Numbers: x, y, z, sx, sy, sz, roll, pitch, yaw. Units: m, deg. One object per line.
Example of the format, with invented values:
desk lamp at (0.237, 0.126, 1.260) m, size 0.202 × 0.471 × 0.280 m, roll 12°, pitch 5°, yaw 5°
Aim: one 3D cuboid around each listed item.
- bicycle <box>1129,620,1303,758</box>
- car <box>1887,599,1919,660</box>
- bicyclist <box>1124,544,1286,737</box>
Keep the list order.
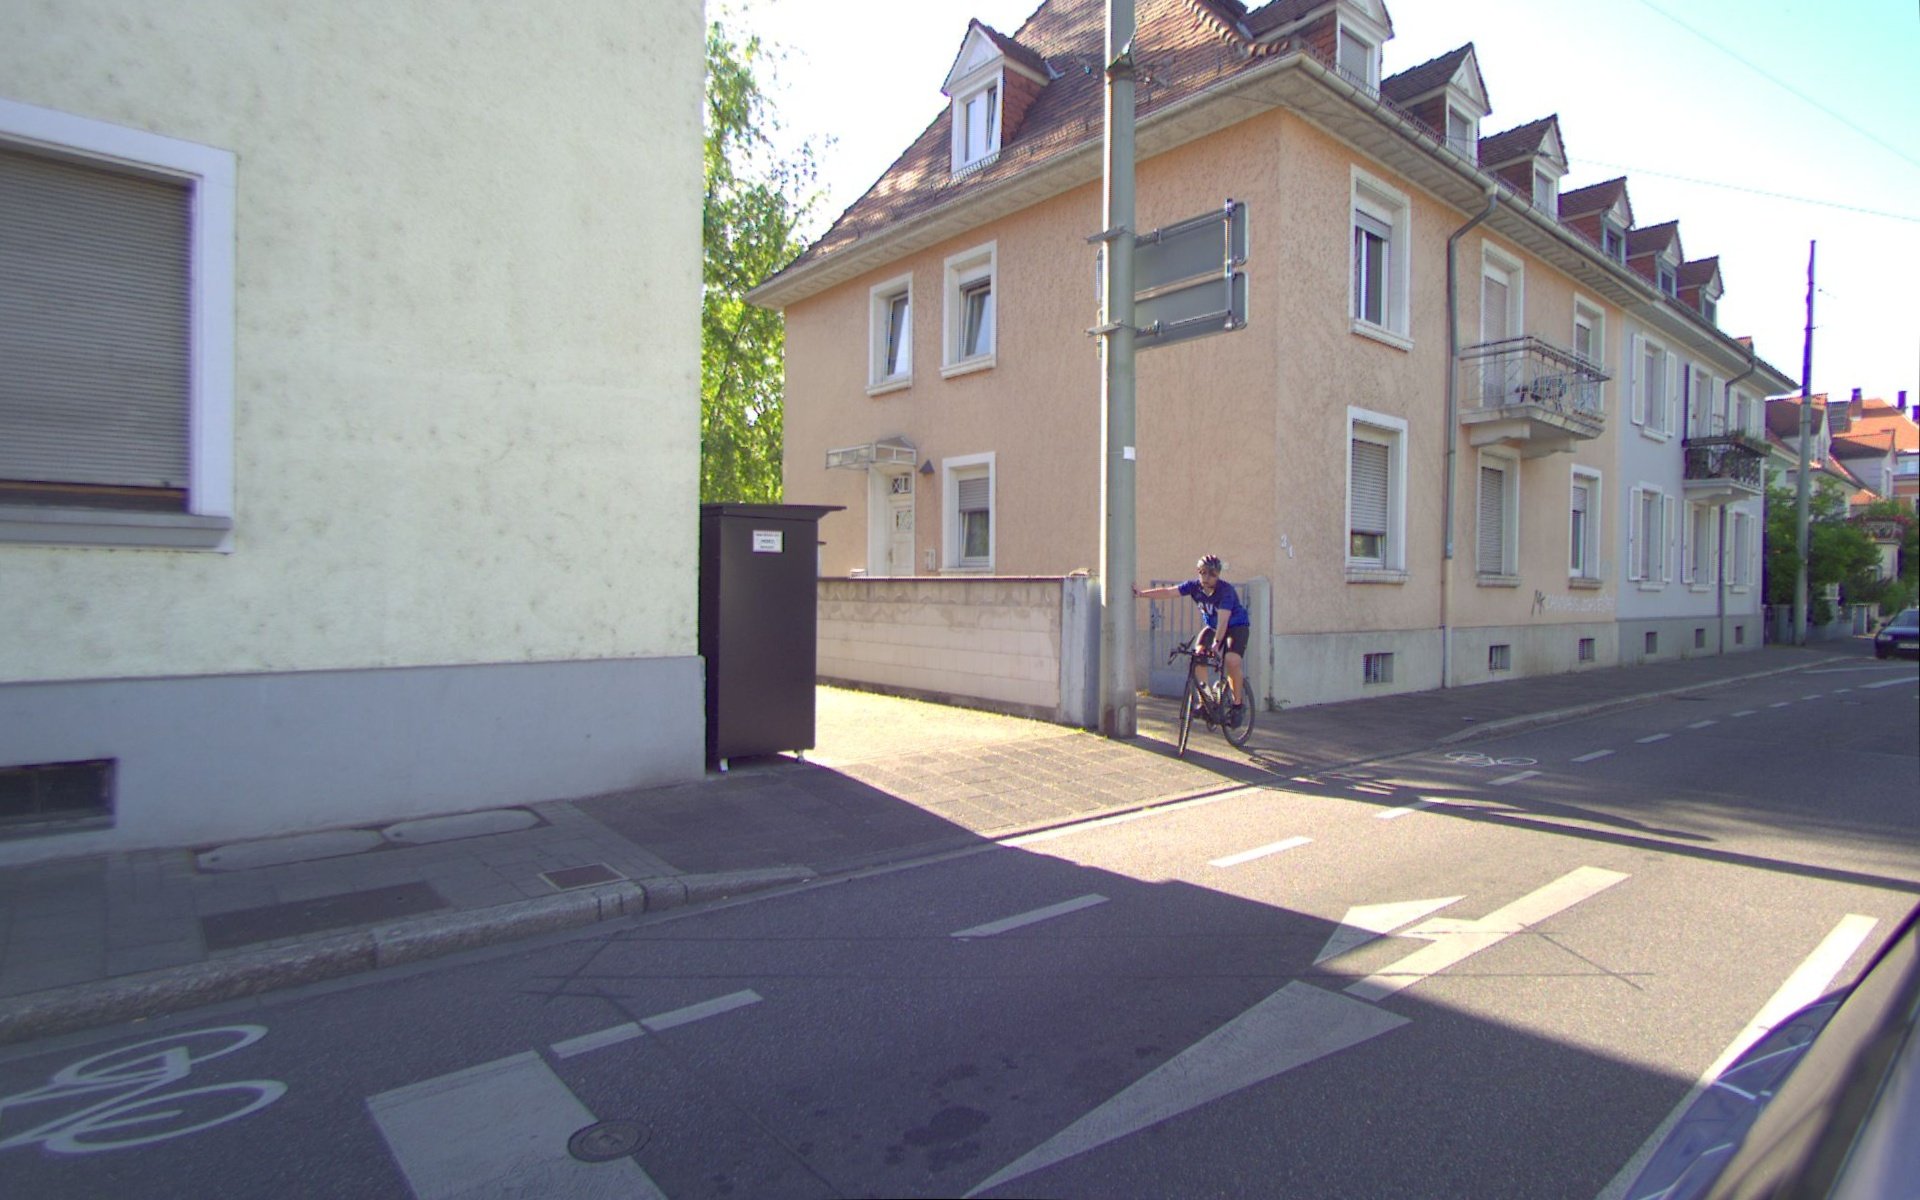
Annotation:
bicycle at (2.395, 0.772, 9.358) m, size 1.744 × 1.081 × 0.592 m, roll 0°, pitch 5°, yaw -41°
car at (26.695, 0.751, 27.366) m, size 3.742 × 1.601 × 1.696 m, roll 0°, pitch -1°, yaw -36°
bicyclist at (2.290, 0.334, 9.518) m, size 0.870 × 1.627 × 1.052 m, roll 1°, pitch 5°, yaw -41°
